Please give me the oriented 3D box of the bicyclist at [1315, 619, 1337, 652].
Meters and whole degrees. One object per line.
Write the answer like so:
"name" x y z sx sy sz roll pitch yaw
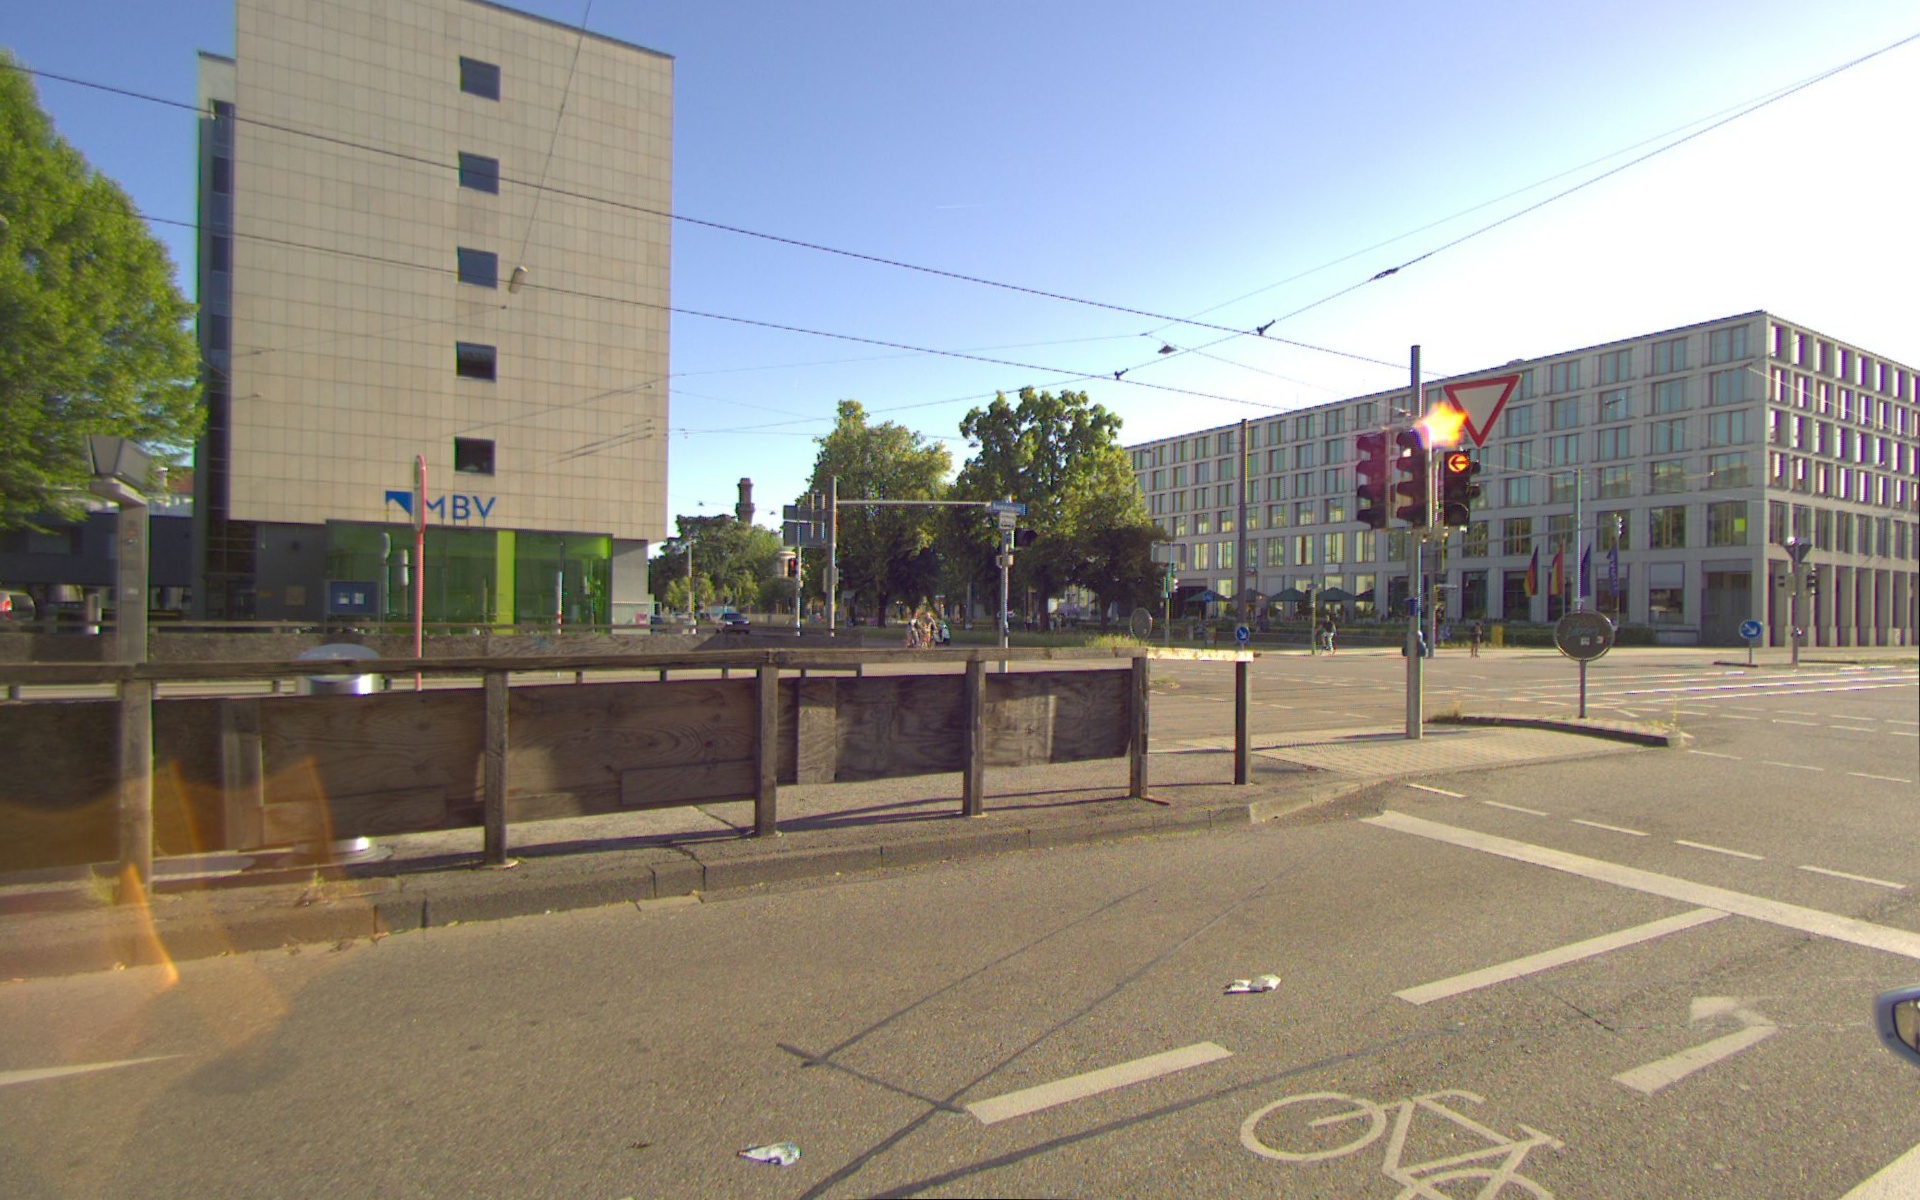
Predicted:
"bicyclist" 17.978 1.755 49.348 0.763 1.610 0.760 1 -1 -8

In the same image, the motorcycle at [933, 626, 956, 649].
"motorcycle" -0.817 1.985 53.264 0.524 1.153 1.449 1 -1 -34

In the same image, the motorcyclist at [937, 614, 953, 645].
"motorcyclist" -0.795 1.561 53.263 0.561 1.598 0.643 1 -1 -34

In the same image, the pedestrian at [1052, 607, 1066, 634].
"pedestrian" 7.801 1.624 79.245 0.812 2.040 0.841 2 0 -20

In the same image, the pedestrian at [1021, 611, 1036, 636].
"pedestrian" 5.442 1.843 79.804 0.864 1.925 0.713 2 0 -27

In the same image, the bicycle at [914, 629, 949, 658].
"bicycle" -1.221 1.821 42.133 0.616 1.148 1.869 1 -1 -31

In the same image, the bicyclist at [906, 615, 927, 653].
"bicyclist" -1.812 1.396 41.688 0.647 1.544 0.615 1 -1 -32

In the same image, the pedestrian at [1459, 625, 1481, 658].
"pedestrian" 24.915 2.017 49.076 0.586 1.610 0.768 1 -1 -41

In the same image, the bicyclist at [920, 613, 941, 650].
"bicyclist" -1.256 1.335 42.213 0.602 1.544 0.709 1 -1 -32

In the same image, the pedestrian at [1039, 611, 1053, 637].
"pedestrian" 6.744 1.876 78.579 0.861 1.925 0.714 2 0 -20

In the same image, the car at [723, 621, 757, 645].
"car" -16.869 2.509 77.033 1.611 1.639 3.623 2 0 -28

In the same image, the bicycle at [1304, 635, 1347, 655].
"bicycle" 17.953 2.210 49.345 1.828 0.947 0.762 1 -1 -5

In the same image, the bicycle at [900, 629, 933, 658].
"bicycle" -1.833 1.792 41.711 0.574 1.148 1.776 1 -1 -31
